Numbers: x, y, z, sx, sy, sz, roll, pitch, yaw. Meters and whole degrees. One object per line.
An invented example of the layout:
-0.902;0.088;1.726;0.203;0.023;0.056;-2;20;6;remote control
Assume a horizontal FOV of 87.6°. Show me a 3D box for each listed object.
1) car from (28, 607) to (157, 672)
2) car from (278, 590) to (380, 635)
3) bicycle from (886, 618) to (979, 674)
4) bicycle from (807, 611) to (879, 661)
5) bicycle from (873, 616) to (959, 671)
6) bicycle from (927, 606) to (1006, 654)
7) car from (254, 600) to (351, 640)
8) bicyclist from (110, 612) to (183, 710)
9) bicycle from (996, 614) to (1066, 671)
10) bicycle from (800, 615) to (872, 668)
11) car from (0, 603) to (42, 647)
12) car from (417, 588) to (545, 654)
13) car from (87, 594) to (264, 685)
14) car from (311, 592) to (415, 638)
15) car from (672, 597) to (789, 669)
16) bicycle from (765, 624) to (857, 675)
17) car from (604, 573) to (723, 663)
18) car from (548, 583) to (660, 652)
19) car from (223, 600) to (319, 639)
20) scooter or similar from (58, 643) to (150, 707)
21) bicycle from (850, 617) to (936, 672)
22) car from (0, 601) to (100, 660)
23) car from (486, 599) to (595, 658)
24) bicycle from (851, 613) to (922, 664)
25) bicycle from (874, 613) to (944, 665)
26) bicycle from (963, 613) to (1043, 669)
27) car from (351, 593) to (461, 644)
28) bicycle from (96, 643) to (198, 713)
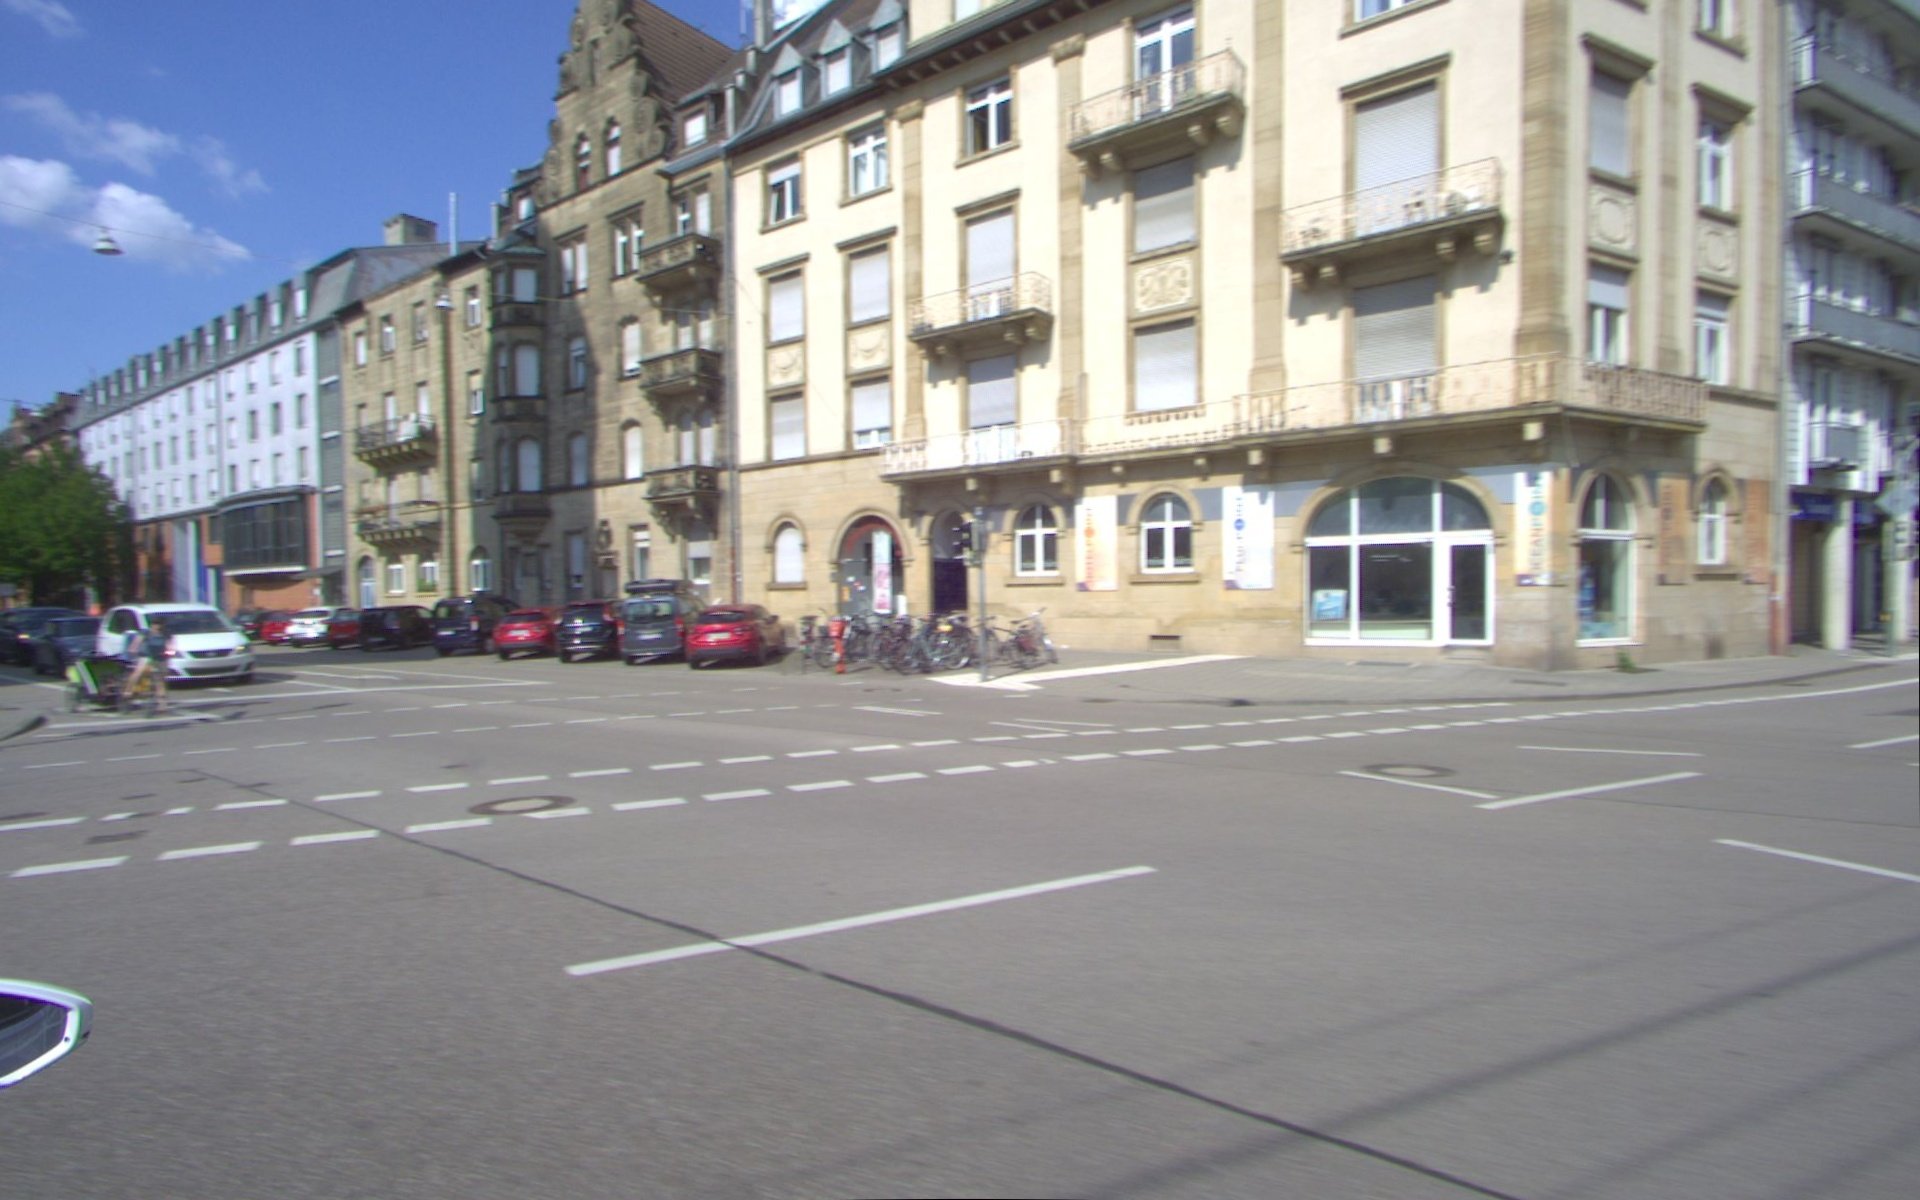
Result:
-21.835;0.942;25.178;3.687;1.470;1.663;0;1;36;car
-24.936;0.466;39.714;1.575;1.521;3.772;-2;3;0;car
-0.569;0.950;21.075;1.848;1.033;0.599;-3;3;-27;bicycle
-2.808;0.859;24.198;0.533;1.033;1.915;0;4;36;bicycle
-0.942;0.929;21.762;1.906;1.033;0.535;-4;4;-40;bicycle
0.137;0.668;23.012;1.906;1.033;0.535;0;4;41;bicycle
-27.264;0.801;41.661;1.575;1.416;3.570;-2;3;0;car
-13.115;0.957;16.145;0.909;1.524;0.648;0;1;33;bicyclist
1.517;0.865;21.099;0.601;1.033;1.865;0;3;33;bicycle
-2.838;0.932;23.116;0.532;1.033;1.917;0;4;32;bicycle
-32.031;0.801;33.159;3.811;1.409;1.692;0;1;36;car
-15.623;0.630;32.906;1.880;1.850;3.996;-1;3;6;car
-16.952;0.765;21.571;4.602;1.763;1.803;0;1;36;car
-22.604;0.513;38.090;1.575;1.476;3.772;-2;3;0;car
-5.629;0.757;25.039;1.930;1.461;3.997;-2;3;0;car
-3.199;1.055;21.530;1.895;1.033;0.538;-1;3;21;bicycle
-7.915;0.399;27.136;1.930;2.112;3.996;-2;3;0;car
-10.066;0.435;28.658;1.677;1.692;3.996;-2;3;0;car
-29.497;0.802;43.009;1.575;1.416;3.570;-2;3;0;car
-14.512;1.253;16.978;1.115;0.990;0.885;0;1;33;scooter or similar
-1.465;0.962;22.047;1.906;1.033;0.535;-5;4;-40;bicycle
-27.253;0.847;29.767;4.018;1.618;1.692;0;1;36;car
-12.812;0.809;30.854;1.879;1.464;3.996;-2;3;-5;car
-1.727;0.880;23.761;0.533;1.033;1.915;0;4;36;bicycle
-1.168;0.876;23.370;0.533;1.033;1.915;0;4;36;bicycle
0.943;0.868;21.628;1.858;1.033;0.604;-4;4;-45;bicycle
-20.024;0.630;36.382;1.677;1.567;3.996;-2;3;0;car
-13.120;1.223;16.146;2.104;1.002;0.648;0;1;33;bicycle
